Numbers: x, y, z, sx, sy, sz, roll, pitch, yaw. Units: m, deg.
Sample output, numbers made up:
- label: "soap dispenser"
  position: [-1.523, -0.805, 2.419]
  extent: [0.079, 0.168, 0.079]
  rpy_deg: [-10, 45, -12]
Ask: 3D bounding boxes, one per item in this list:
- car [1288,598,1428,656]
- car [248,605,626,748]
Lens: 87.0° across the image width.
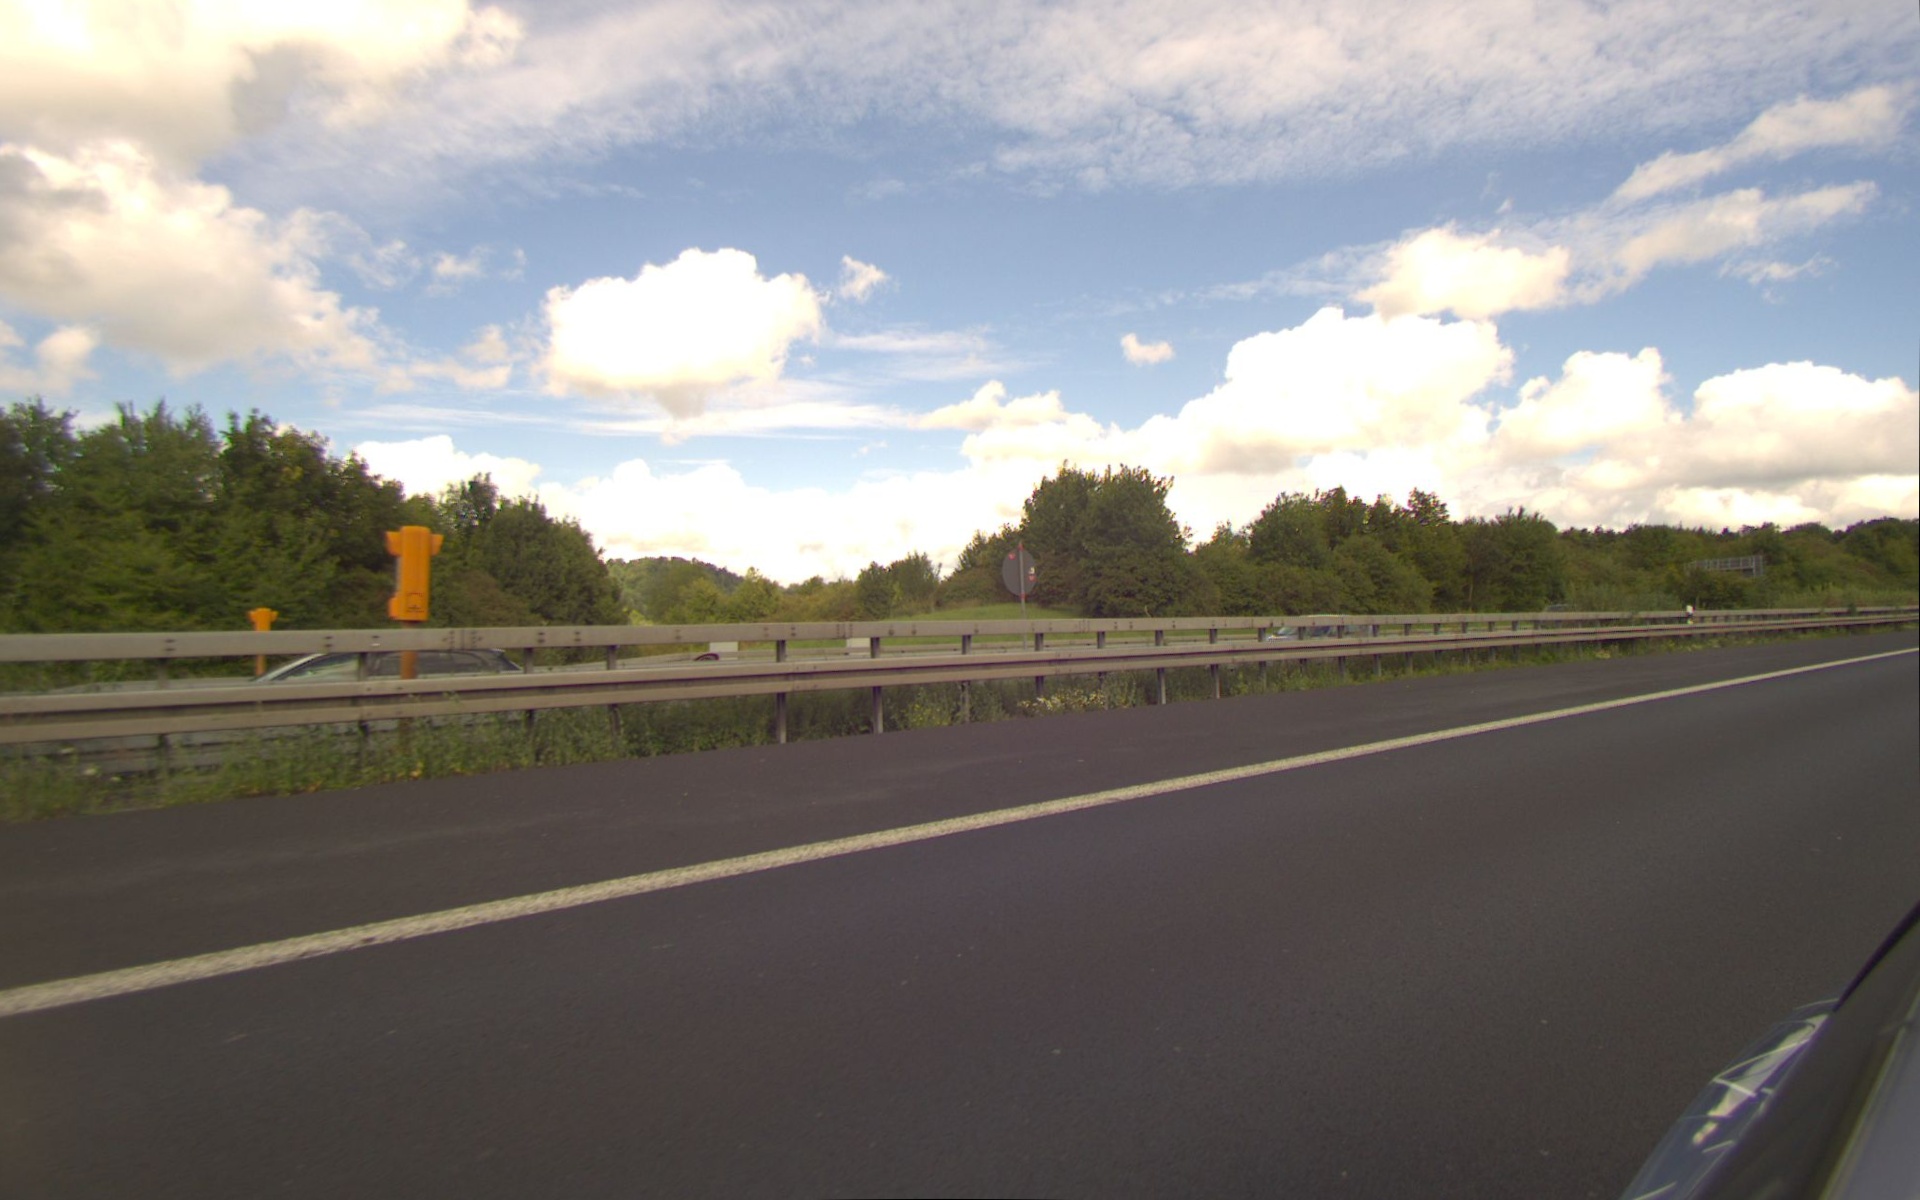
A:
- label: "car"
  position: [11.682, 0.730, 29.564]
  extent: [4.592, 1.538, 1.788]
  rpy_deg: [-1, 0, -39]
- label: "car"
  position: [-6.906, 0.880, 13.592]
  extent: [4.266, 1.591, 1.788]
  rpy_deg: [0, 0, -39]
